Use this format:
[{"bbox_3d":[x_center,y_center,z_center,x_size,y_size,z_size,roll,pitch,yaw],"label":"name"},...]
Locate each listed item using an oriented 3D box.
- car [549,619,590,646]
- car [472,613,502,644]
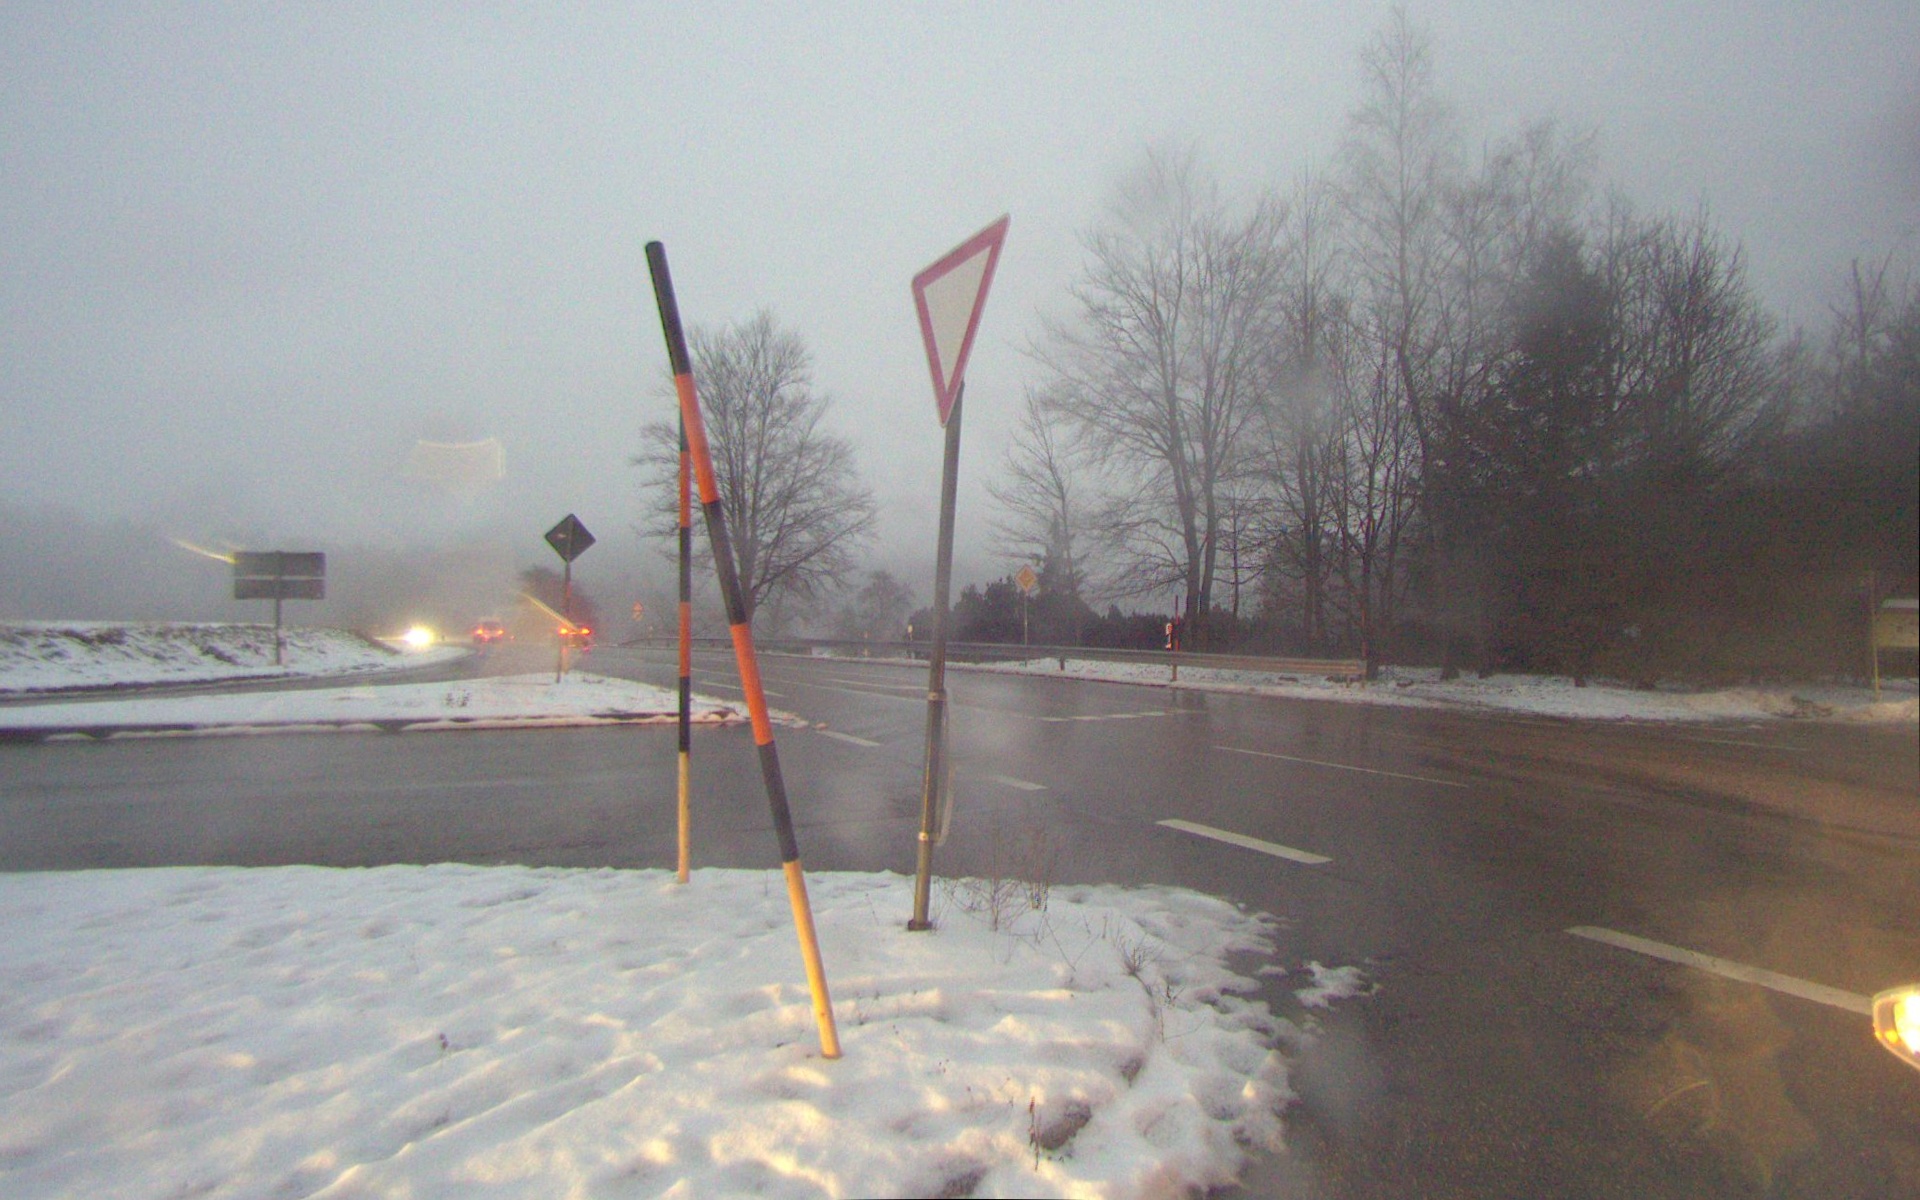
[{"bbox_3d":[-24.935,2.064,64.097,1.679,1.572,3.822,3,-2,-32],"label":"car"},{"bbox_3d":[-46.943,2.839,99.681,2.129,2.731,5.483,3,0,-31],"label":"car"}]
